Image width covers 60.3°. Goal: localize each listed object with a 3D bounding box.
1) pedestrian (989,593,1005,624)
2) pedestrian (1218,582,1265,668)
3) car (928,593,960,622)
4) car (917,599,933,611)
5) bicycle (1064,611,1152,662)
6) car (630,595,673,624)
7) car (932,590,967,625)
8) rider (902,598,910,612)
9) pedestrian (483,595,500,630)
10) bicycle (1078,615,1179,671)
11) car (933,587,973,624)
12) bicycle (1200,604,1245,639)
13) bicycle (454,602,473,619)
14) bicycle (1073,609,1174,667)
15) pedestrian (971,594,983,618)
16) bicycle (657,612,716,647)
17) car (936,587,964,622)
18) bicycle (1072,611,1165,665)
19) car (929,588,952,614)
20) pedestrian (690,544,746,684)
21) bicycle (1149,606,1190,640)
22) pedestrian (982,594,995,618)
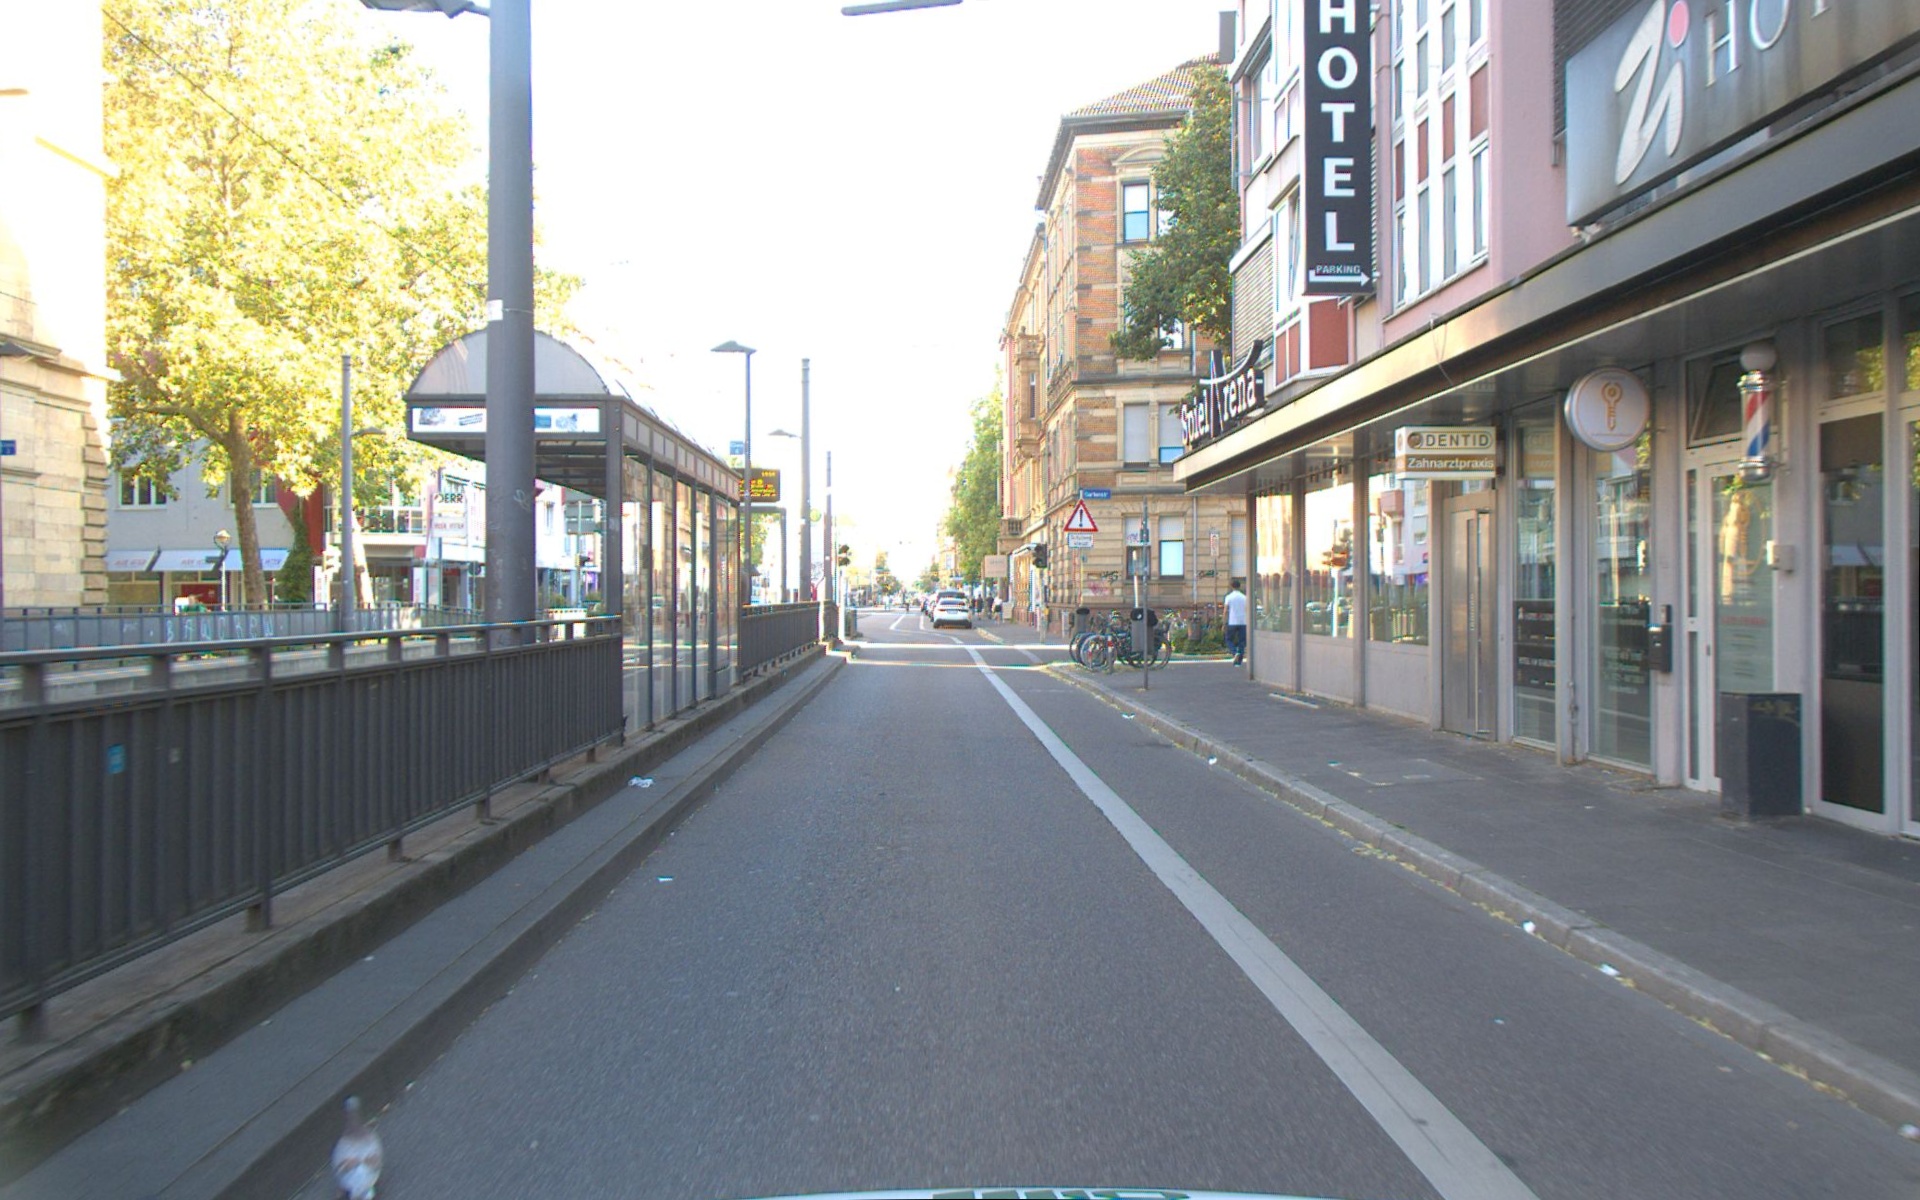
[{"bbox_3d":[1.990,0.440,88.507,0.760,1.594,0.914,-3,0,1],"label":"pedestrian"},{"bbox_3d":[5.727,0.493,33.680,0.767,1.694,1.033,0,2,-1],"label":"pedestrian"},{"bbox_3d":[-1.099,0.500,110.840,1.910,1.819,5.178,1,0,-3],"label":"car"},{"bbox_3d":[-4.632,0.687,218.553,2.024,1.413,4.223,2,0,-2],"label":"car"},{"bbox_3d":[3.166,0.774,35.462,1.798,1.072,0.709,0,0,-5],"label":"bicycle"},{"bbox_3d":[-19.723,0.629,105.890,2.049,1.743,4.816,1,-1,-2],"label":"car"},{"bbox_3d":[-0.582,0.403,94.779,1.915,1.901,4.988,1,0,0],"label":"car"},{"bbox_3d":[-6.002,0.584,183.877,0.865,1.507,0.713,2,0,-1],"label":"rider"},{"bbox_3d":[-23.755,0.642,83.872,0.729,1.742,0.615,0,0,-5],"label":"pedestrian"},{"bbox_3d":[3.298,0.841,32.405,1.875,1.066,0.680,0,0,-5],"label":"bicycle"},{"bbox_3d":[-0.382,0.277,82.776,1.926,1.802,4.874,1,0,-1],"label":"car"},{"bbox_3d":[8.082,0.645,50.998,0.489,1.042,1.895,0,0,-22],"label":"bicycle"},{"bbox_3d":[-20.899,0.435,69.633,0.447,0.670,1.807,2,0,-7],"label":"bicycle"},{"bbox_3d":[3.262,0.751,33.061,1.931,1.124,0.614,-1,0,-5],"label":"bicycle"},{"bbox_3d":[1.166,0.383,112.853,0.760,1.594,0.913,-3,0,0],"label":"pedestrian"},{"bbox_3d":[-9.221,0.991,55.820,1.855,1.096,0.584,2,0,-1],"label":"bicycle"},{"bbox_3d":[-0.625,0.319,105.506,1.670,2.157,3.707,0,-1,1],"label":"car"},{"bbox_3d":[3.233,0.772,33.790,1.798,1.072,0.717,0,0,-5],"label":"bicycle"},{"bbox_3d":[-1.655,0.087,140.515,1.931,2.049,4.557,-2,0,-1],"label":"car"},{"bbox_3d":[-3.074,0.174,21.089,0.609,1.742,0.849,0,0,-2],"label":"pedestrian"},{"bbox_3d":[6.426,0.697,50.864,0.444,1.042,1.896,0,0,-20],"label":"bicycle"},{"bbox_3d":[1.933,0.414,112.886,0.760,1.594,0.913,-3,0,0],"label":"pedestrian"}]
